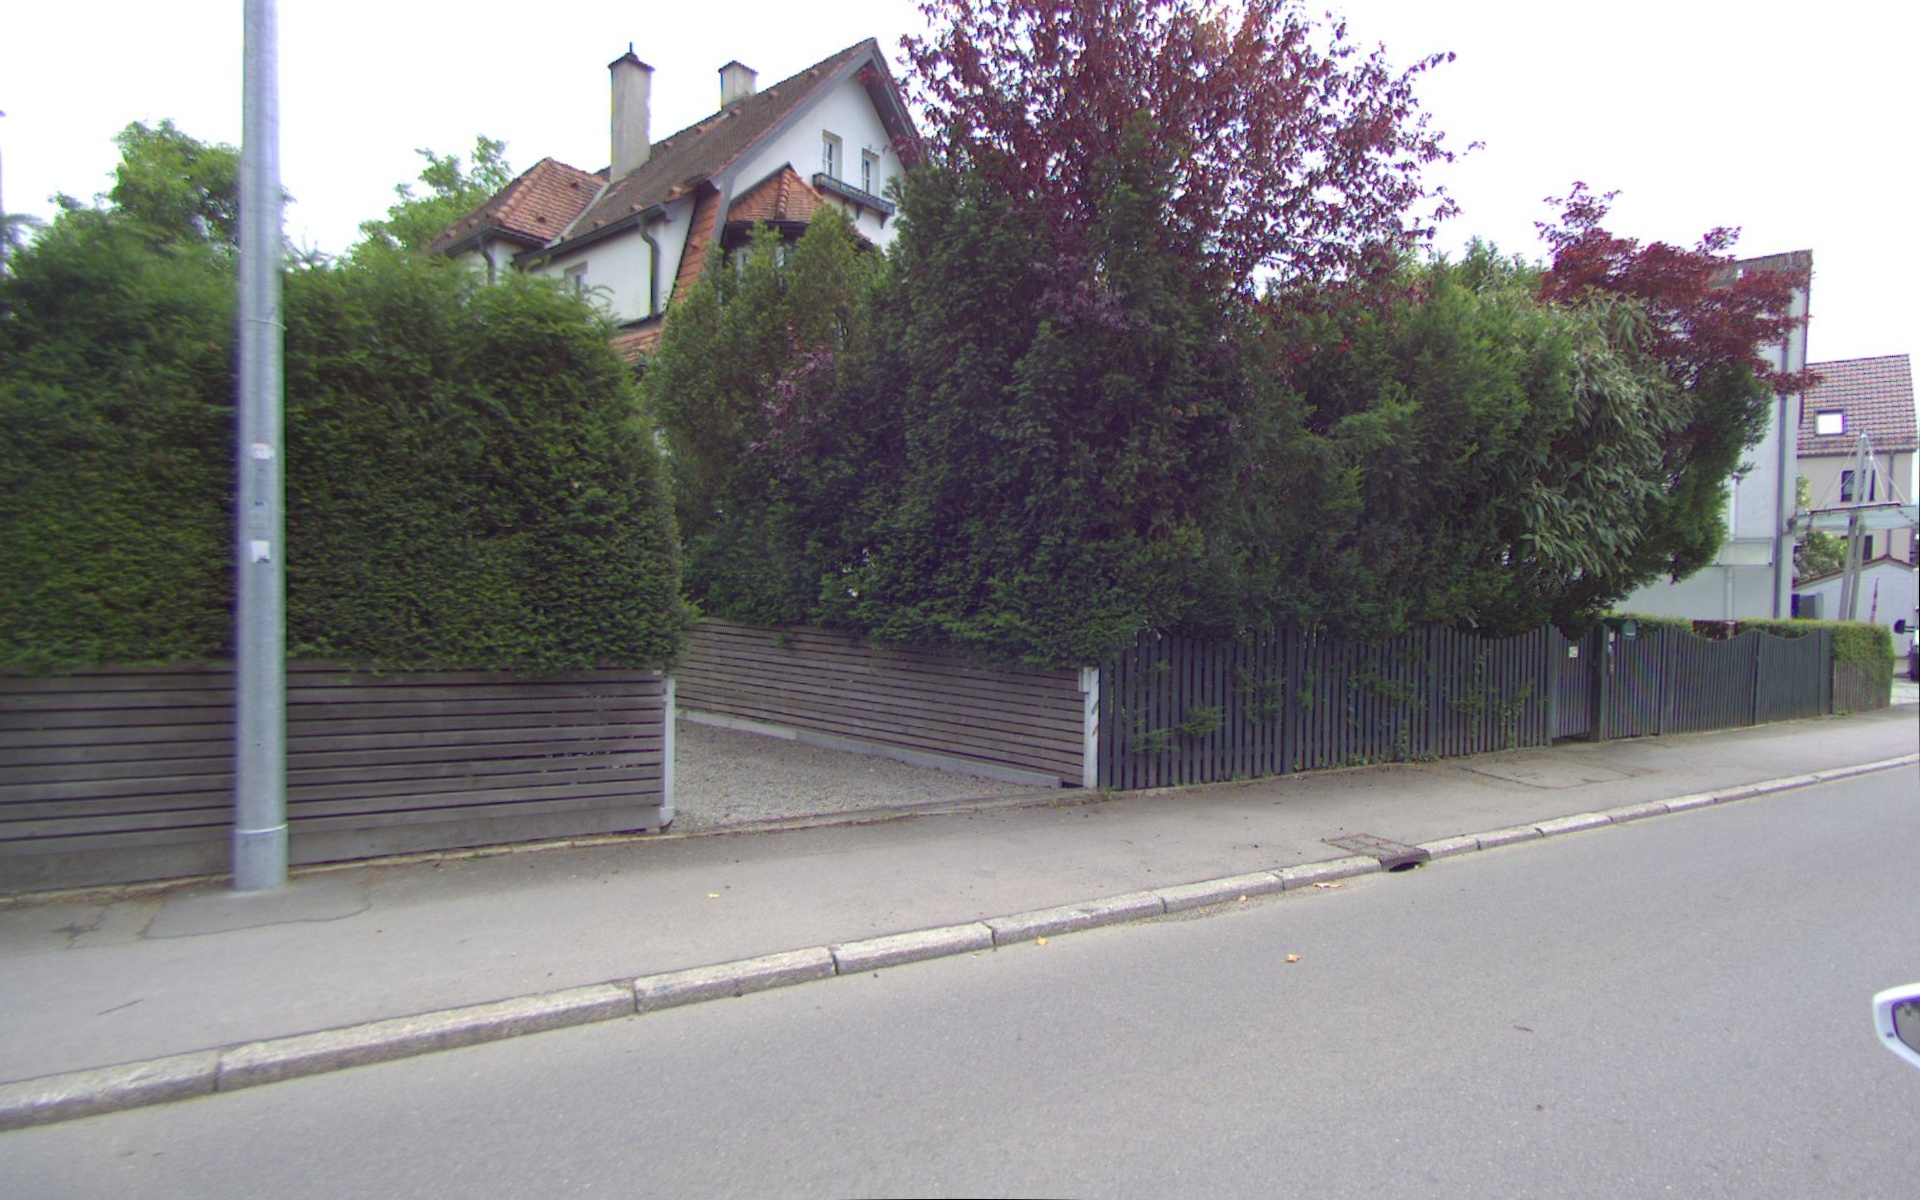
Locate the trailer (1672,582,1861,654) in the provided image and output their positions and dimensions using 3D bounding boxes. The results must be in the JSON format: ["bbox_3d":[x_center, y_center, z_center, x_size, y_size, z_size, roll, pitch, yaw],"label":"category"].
[{"bbox_3d":[27.962,0.554,34.994,1.690,2.108,4.821,-1,4,-39],"label":"trailer"}]

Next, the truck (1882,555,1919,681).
[{"bbox_3d":[25.005,0.492,24.688,6.651,2.878,2.453,1,1,-39],"label":"truck"}]
